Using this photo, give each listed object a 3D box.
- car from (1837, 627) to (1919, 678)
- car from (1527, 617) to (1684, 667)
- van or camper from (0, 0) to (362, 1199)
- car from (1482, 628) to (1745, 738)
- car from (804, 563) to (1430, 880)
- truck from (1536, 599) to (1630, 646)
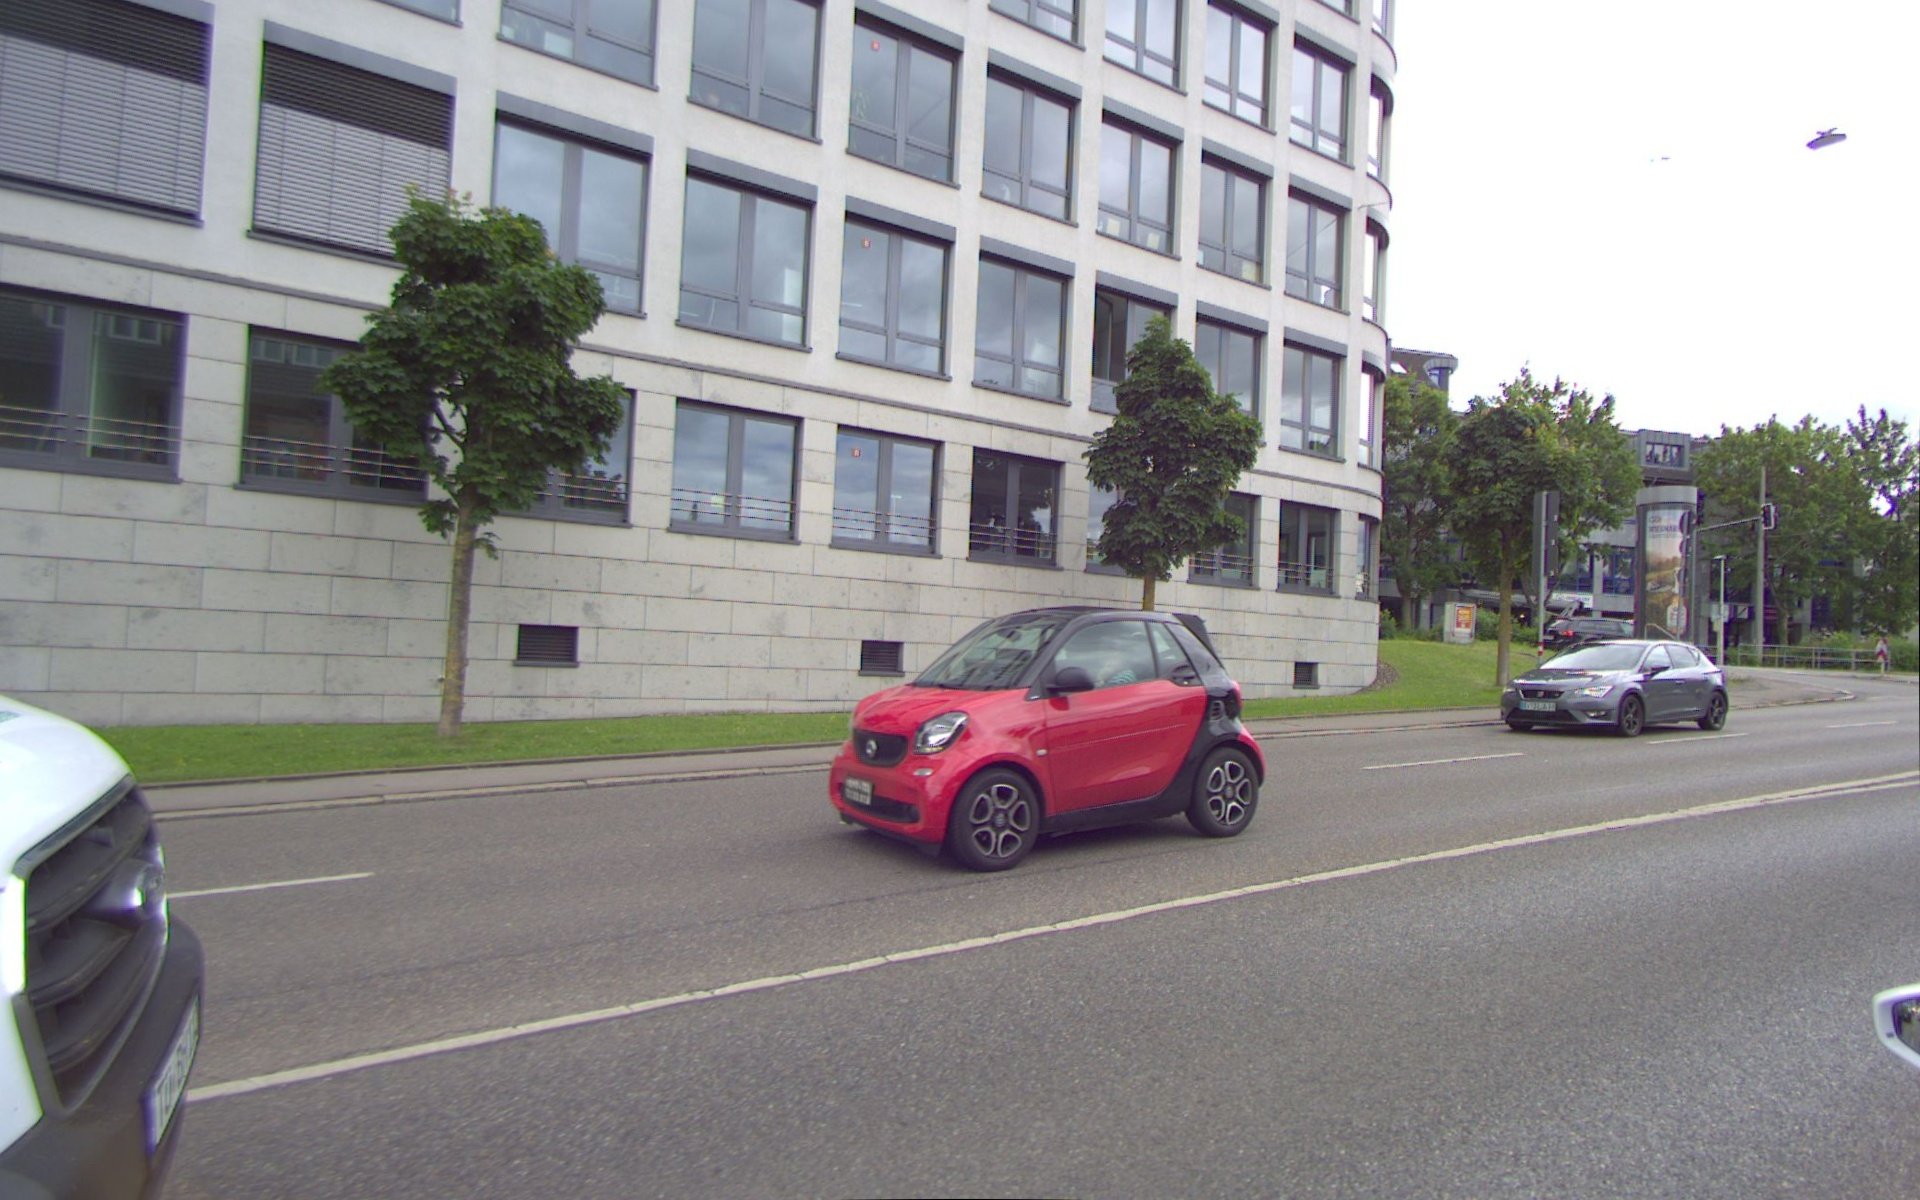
[{"bbox_3d":[31.224,1.709,32.468,3.919,1.565,1.783,1,-1,14],"label":"car"},{"bbox_3d":[22.183,1.427,34.600,4.356,1.483,1.780,2,1,-5],"label":"car"},{"bbox_3d":[-3.800,0.104,0.513,5.901,2.697,2.330,3,-1,-33],"label":"van or camper"},{"bbox_3d":[10.248,1.237,15.697,4.158,1.514,1.739,1,-4,-30],"label":"car"},{"bbox_3d":[1.244,0.744,7.413,4.378,1.724,1.861,1,-4,-31],"label":"car"},{"bbox_3d":[34.018,1.197,54.915,3.924,2.419,1.998,1,1,-5],"label":"truck"}]
